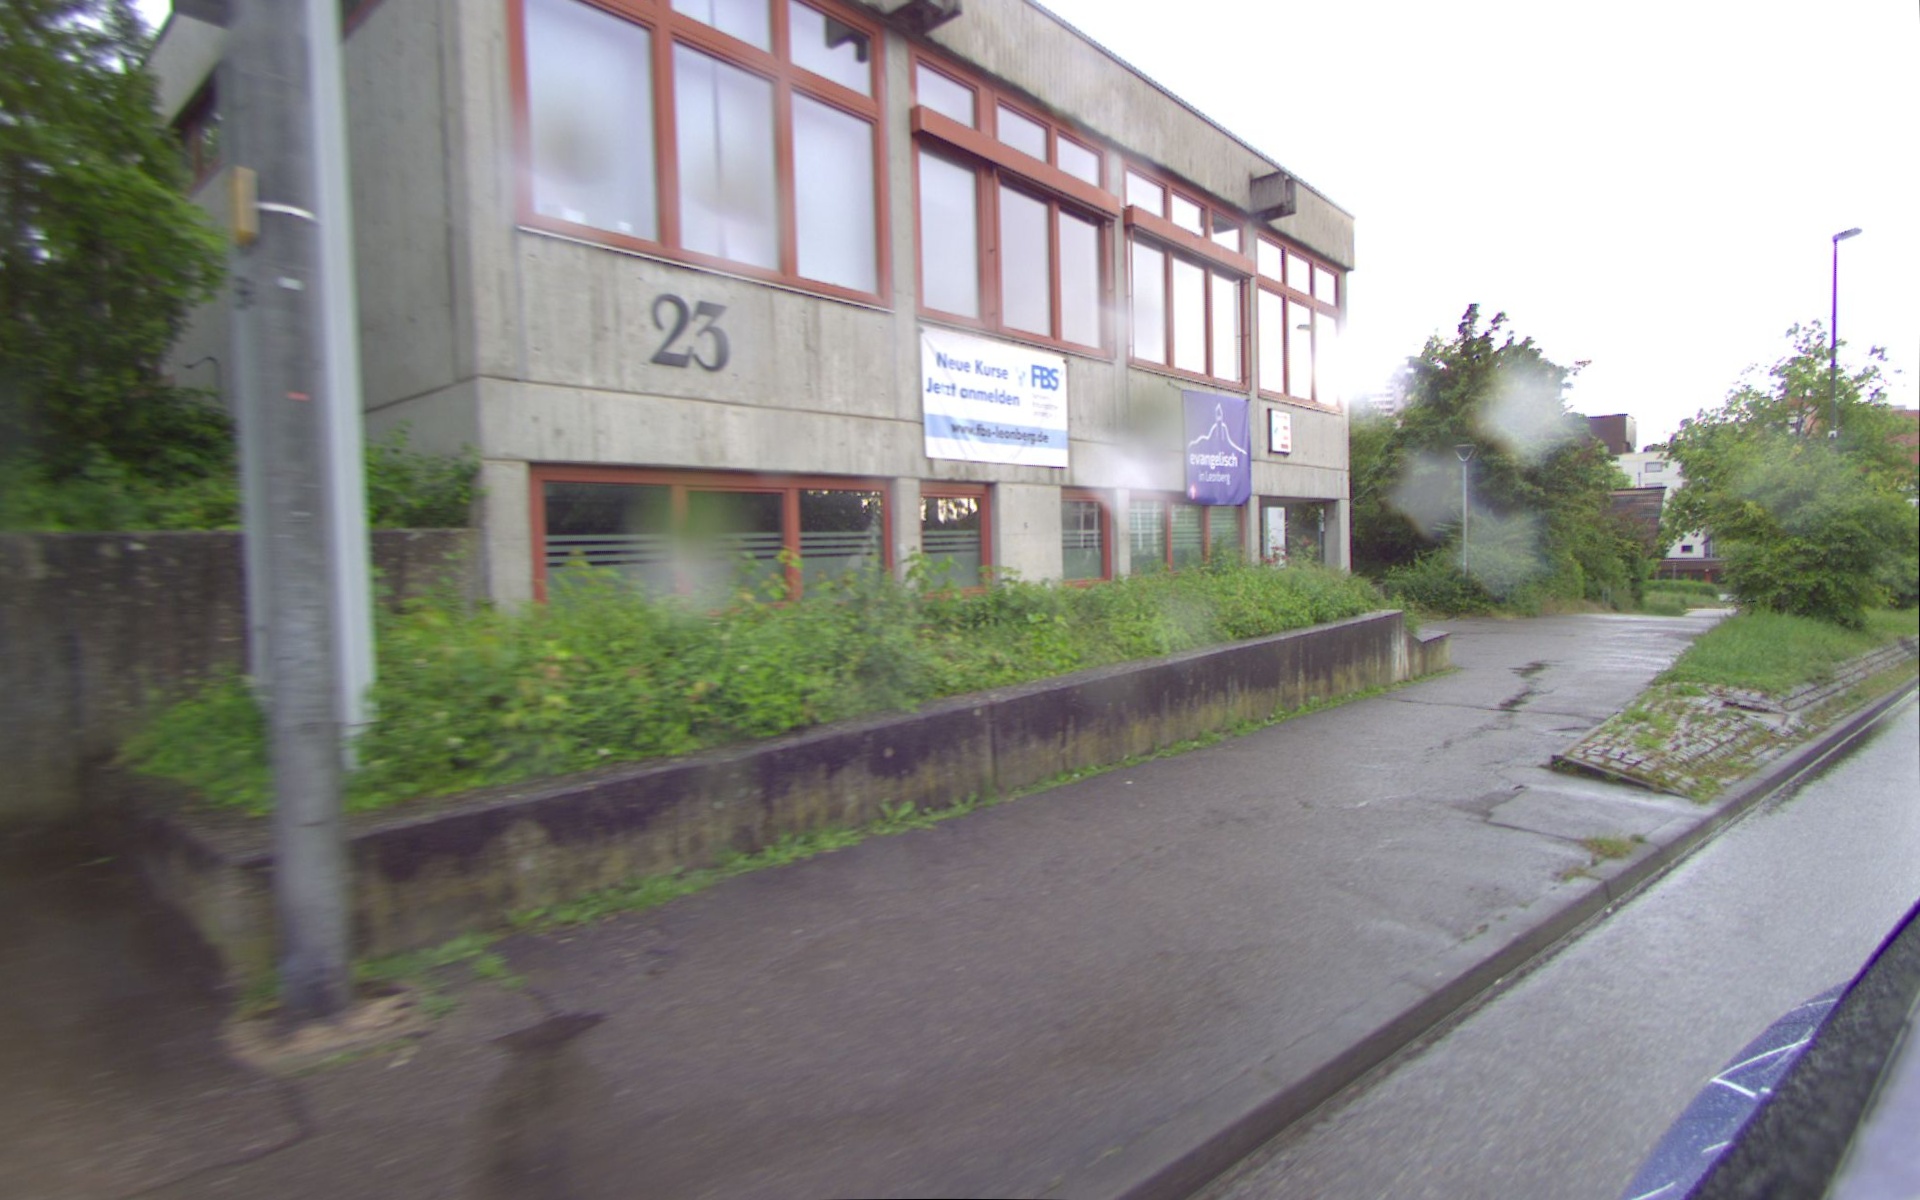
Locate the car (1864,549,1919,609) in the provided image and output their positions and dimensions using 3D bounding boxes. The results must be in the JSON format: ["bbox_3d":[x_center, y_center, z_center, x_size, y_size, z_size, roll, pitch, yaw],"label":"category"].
[{"bbox_3d":[31.004,-0.682,32.771,3.898,1.843,2.047,-1,1,-40],"label":"car"}]
